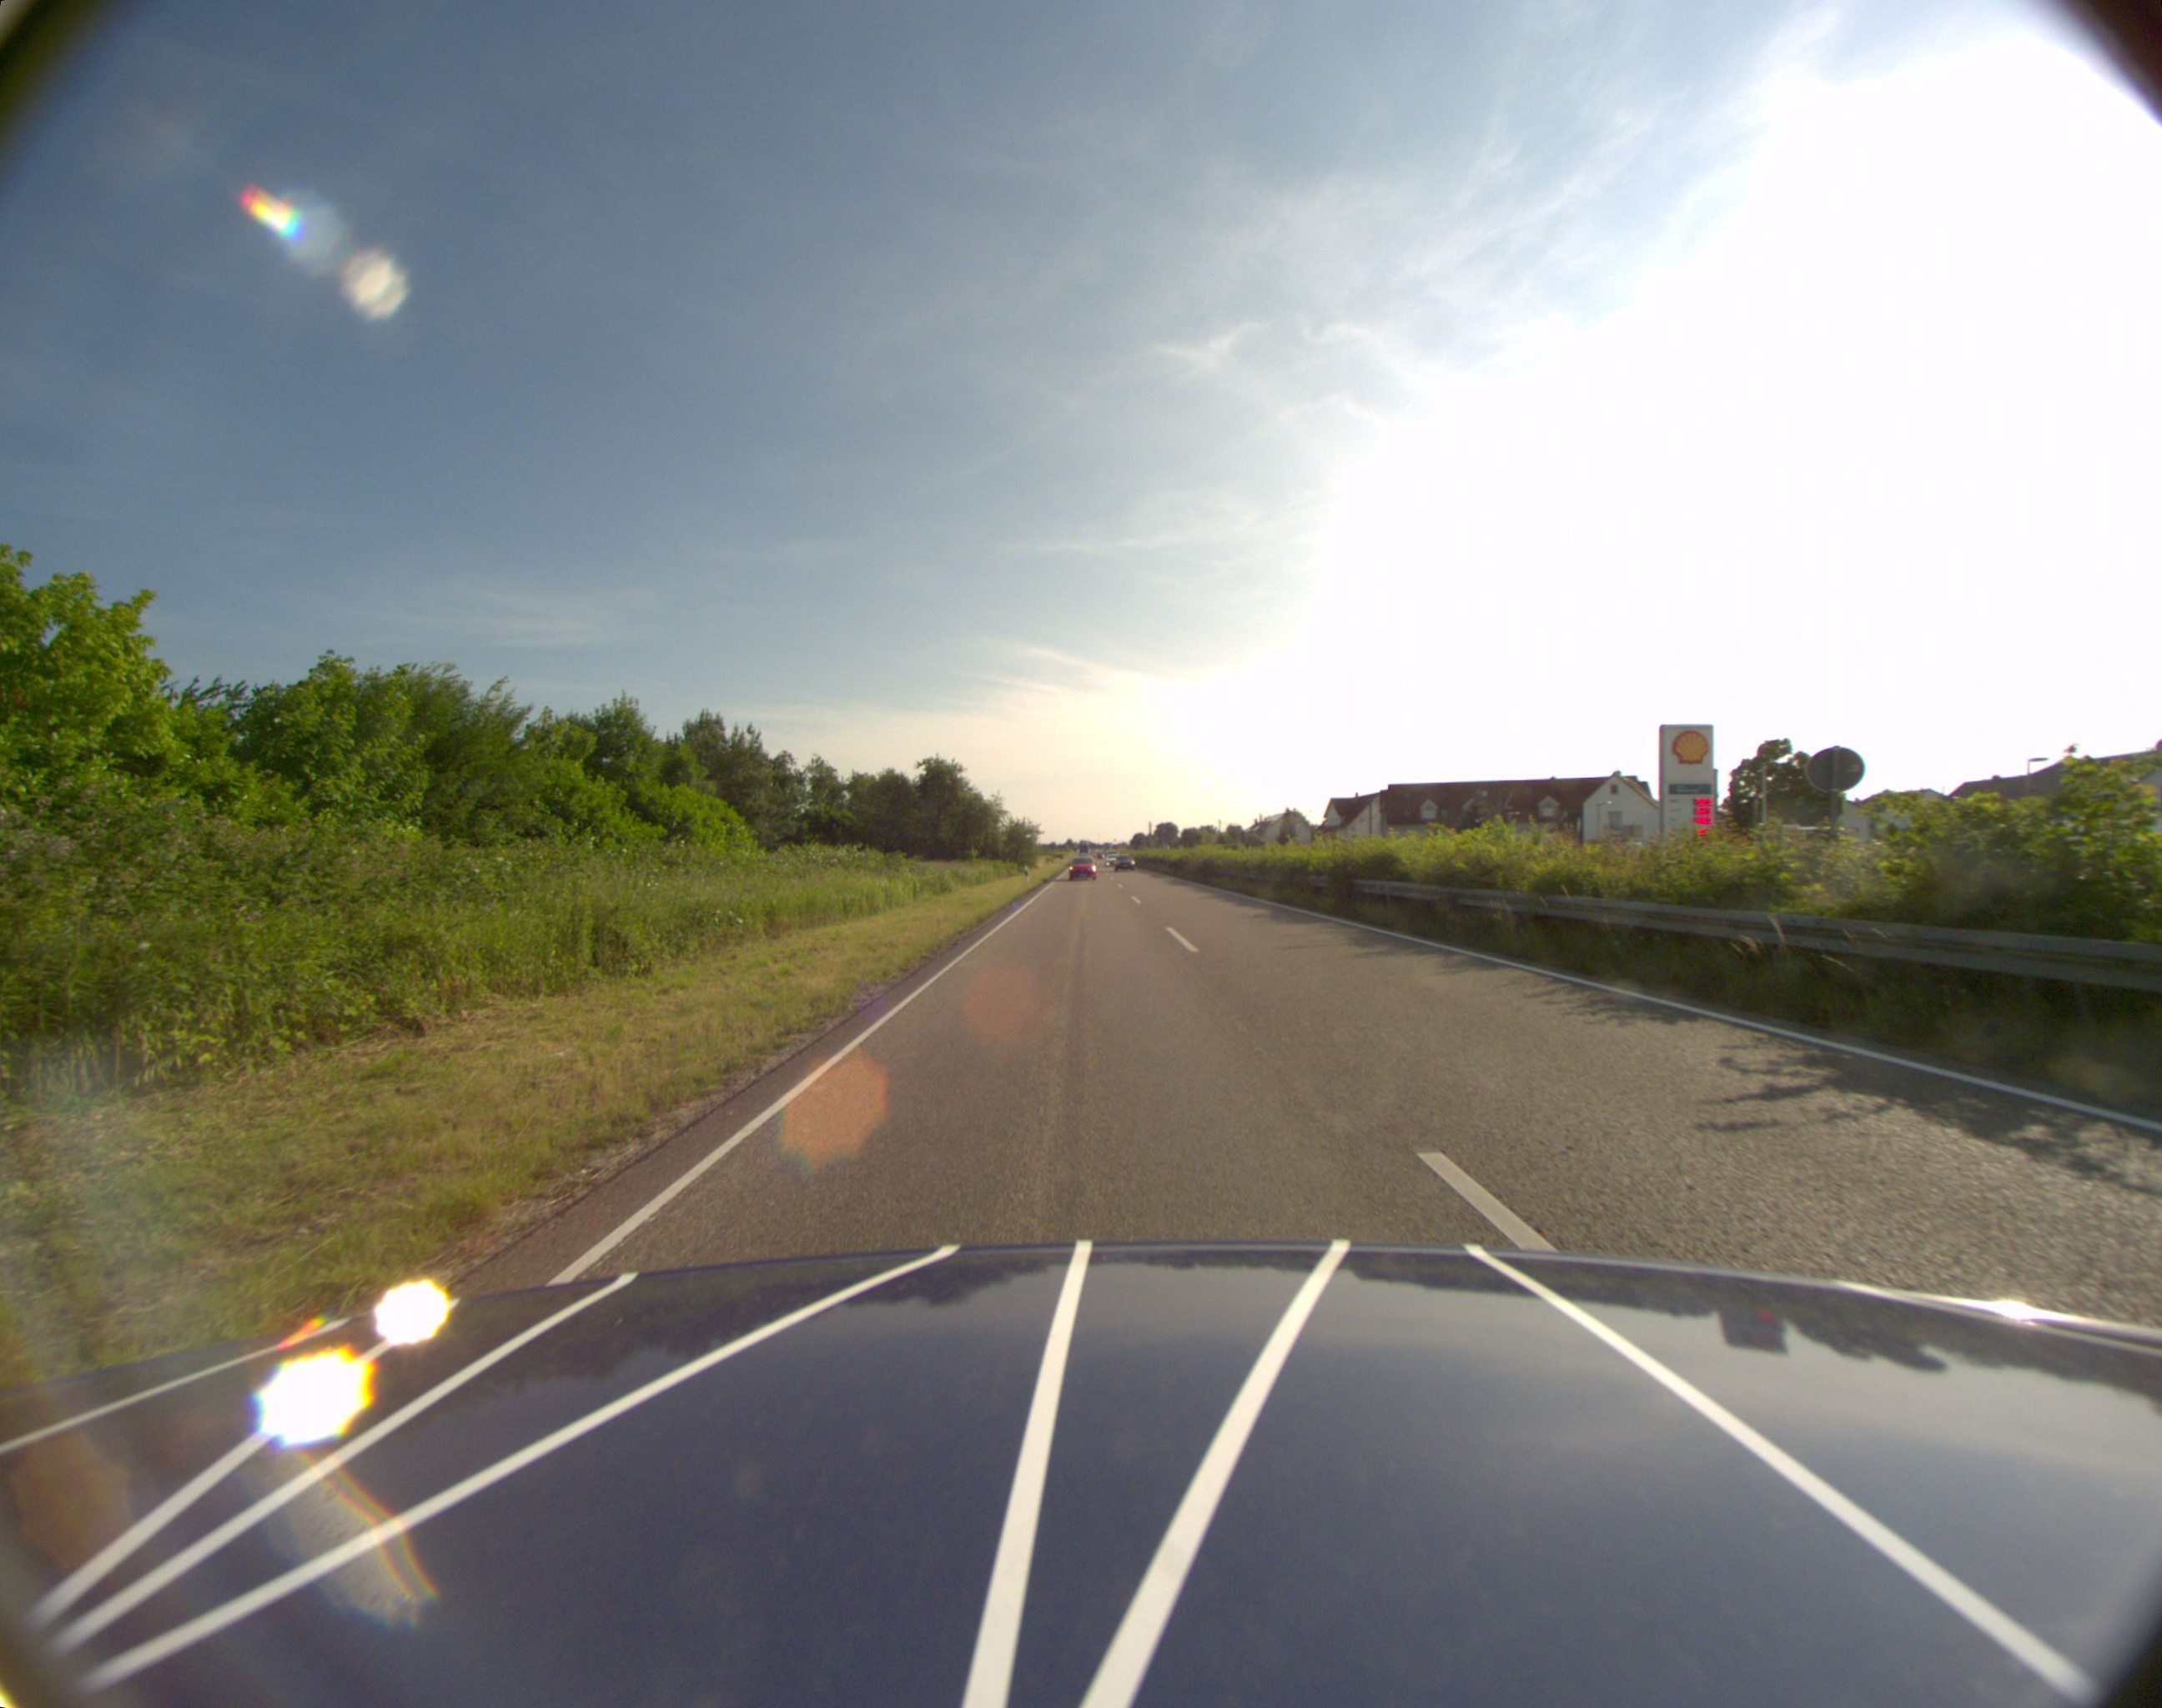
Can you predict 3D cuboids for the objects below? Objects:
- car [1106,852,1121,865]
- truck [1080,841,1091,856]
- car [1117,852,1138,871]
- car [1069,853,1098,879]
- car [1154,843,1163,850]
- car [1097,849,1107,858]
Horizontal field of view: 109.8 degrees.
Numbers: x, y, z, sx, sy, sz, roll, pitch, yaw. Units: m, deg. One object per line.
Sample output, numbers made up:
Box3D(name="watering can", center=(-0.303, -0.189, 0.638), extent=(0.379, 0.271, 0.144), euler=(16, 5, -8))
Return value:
Box3D(name="car", center=(3.907, 0.491, 92.042), extent=(1.636, 1.442, 4.000), euler=(-2, 1, 1))
Box3D(name="truck", center=(1.293, -1.658, 212.274), extent=(2.850, 3.897, 10.103), euler=(-2, 1, 1))
Box3D(name="car", center=(4.096, 0.631, 67.967), extent=(1.636, 1.500, 4.000), euler=(-2, 1, 1))
Box3D(name="car", center=(0.200, 0.751, 49.382), extent=(1.735, 1.467, 4.000), euler=(-2, 1, 1))
Box3D(name="car", center=(20.899, -2.023, 205.978), extent=(1.998, 1.740, 3.999), euler=(-2, 1, 0))
Box3D(name="car", center=(4.527, -0.126, 165.184), extent=(1.998, 2.002, 4.000), euler=(-2, 0, 1))
